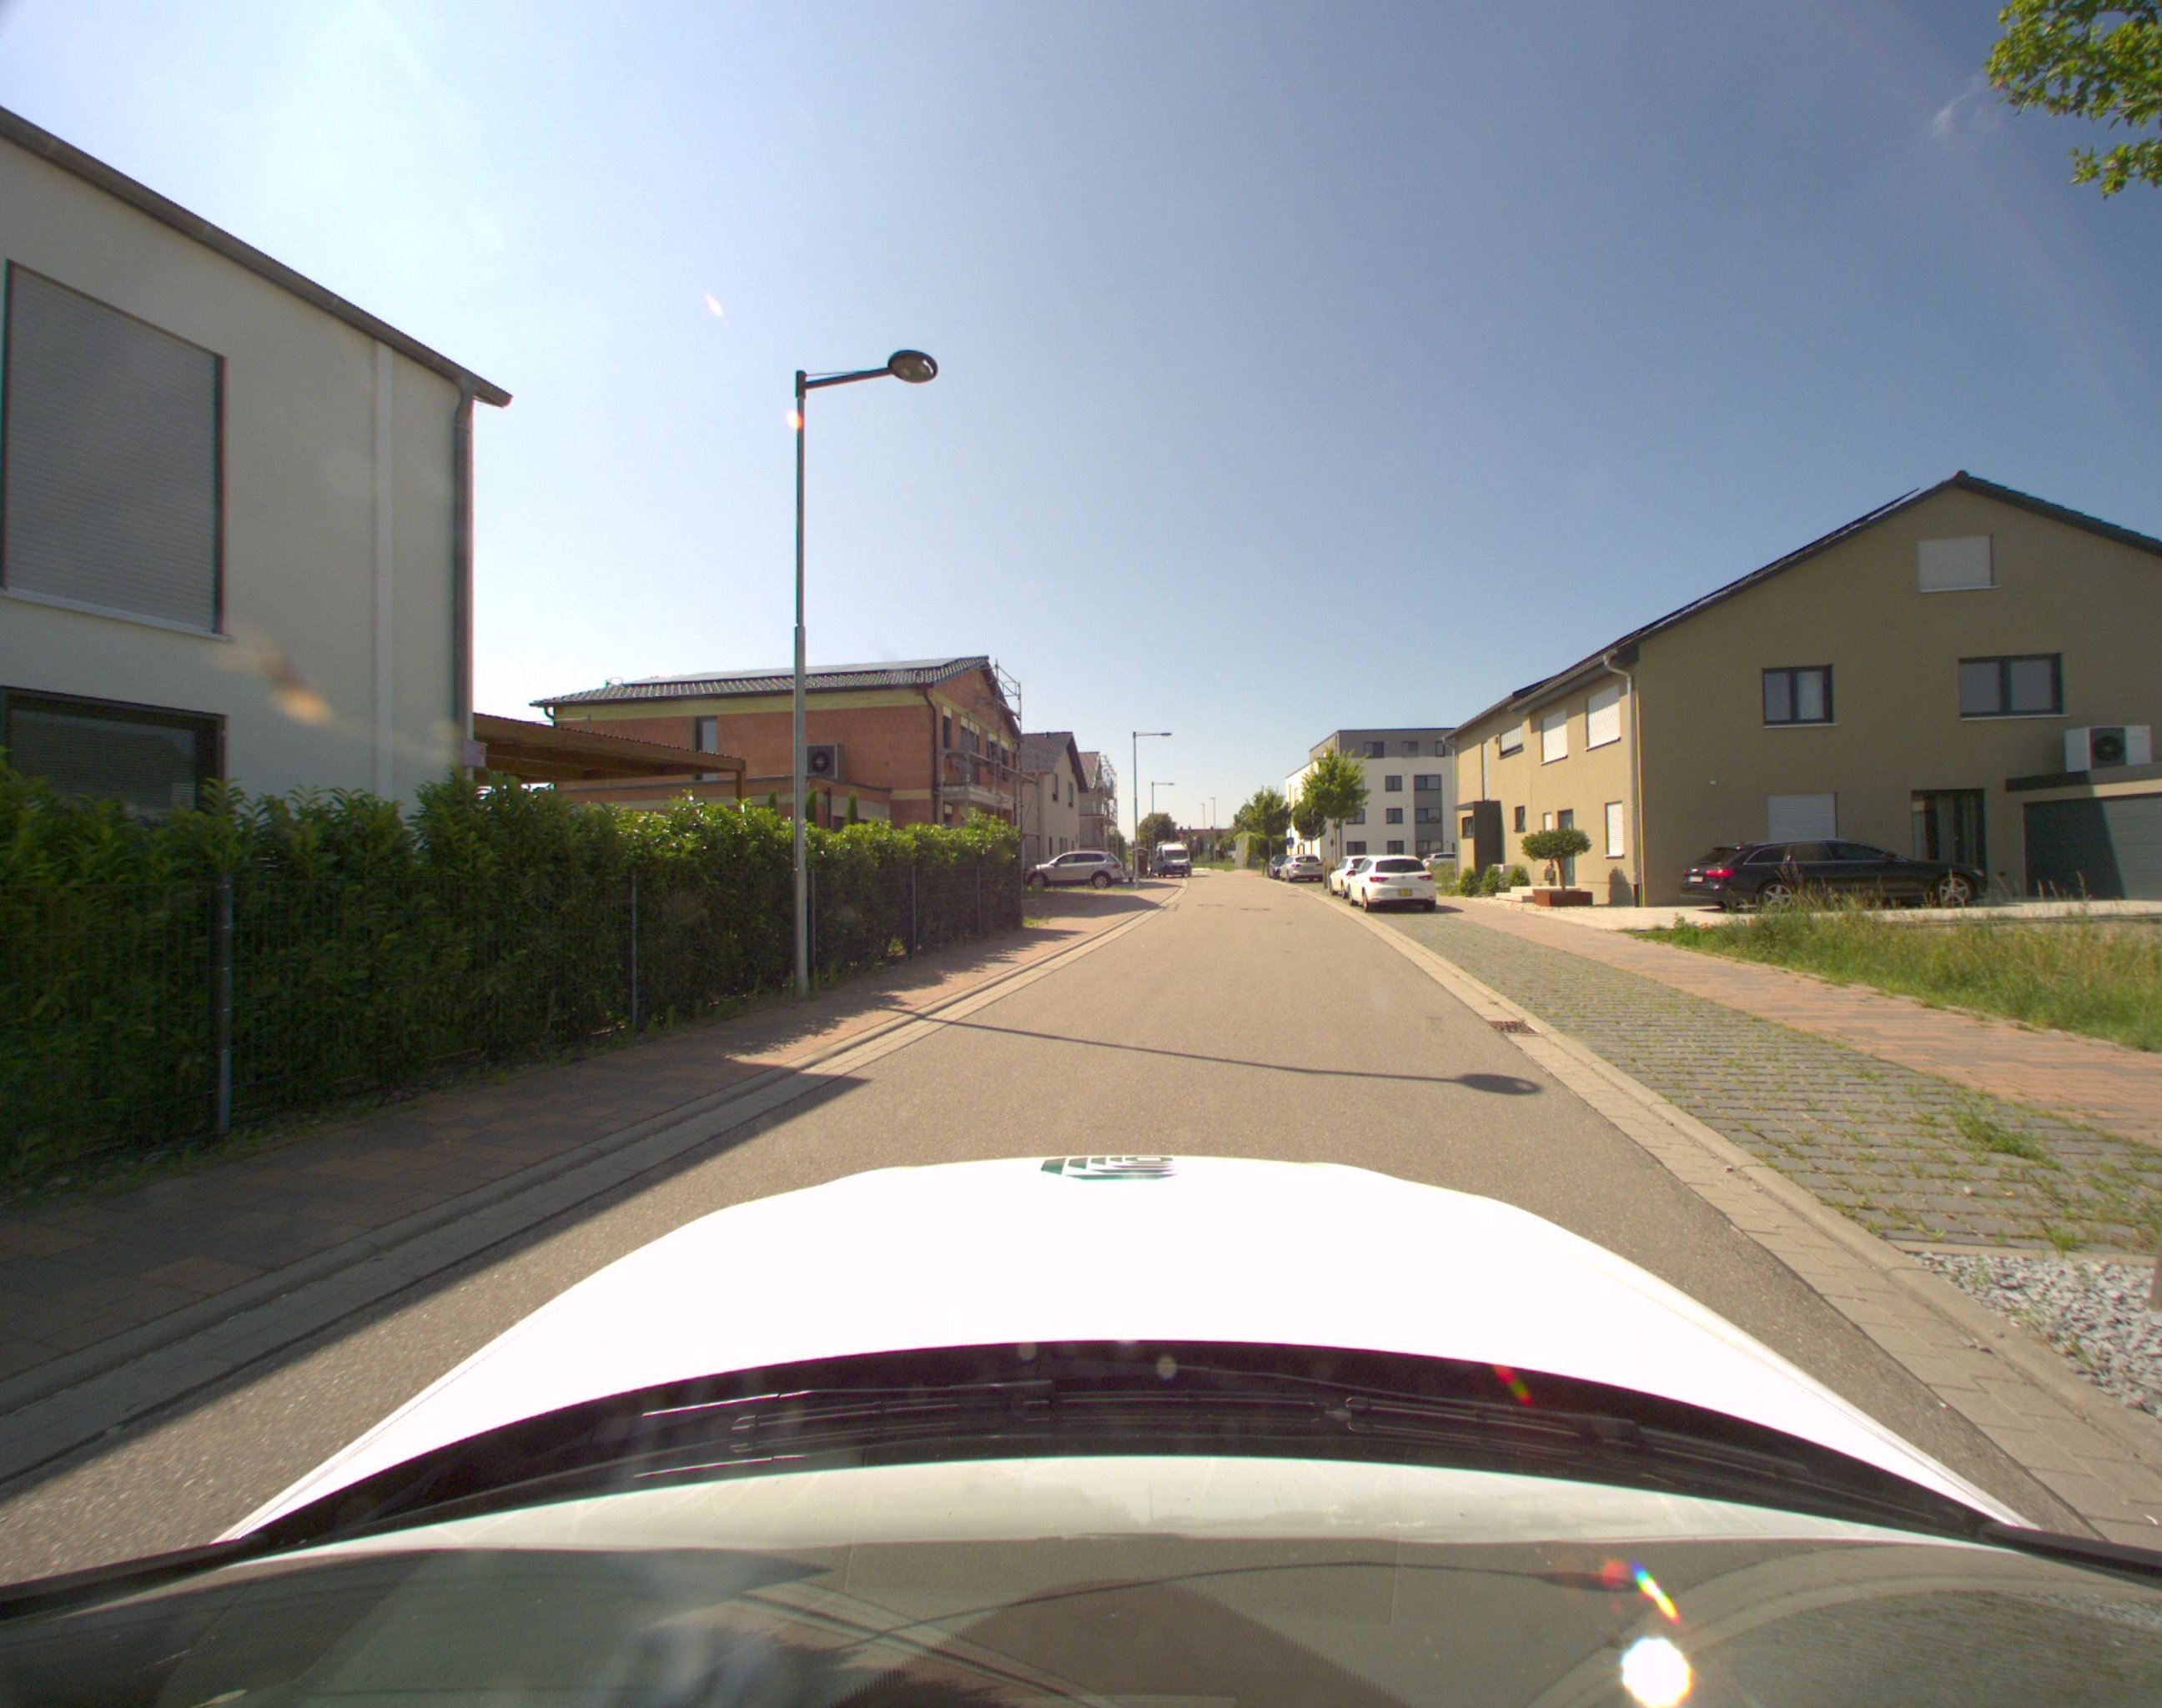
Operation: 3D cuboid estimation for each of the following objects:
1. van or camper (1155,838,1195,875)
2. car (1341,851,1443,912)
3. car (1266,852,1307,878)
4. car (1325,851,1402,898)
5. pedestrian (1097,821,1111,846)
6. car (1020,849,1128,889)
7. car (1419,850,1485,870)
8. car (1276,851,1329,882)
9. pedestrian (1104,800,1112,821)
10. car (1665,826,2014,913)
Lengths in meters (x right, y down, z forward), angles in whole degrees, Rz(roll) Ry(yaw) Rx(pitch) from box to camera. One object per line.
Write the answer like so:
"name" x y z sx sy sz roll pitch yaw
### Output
"van or camper" 6.885 0.220 60.344 2.265 2.553 6.366 -1 -1 0
"car" 8.423 0.698 22.433 1.803 1.456 4.578 -2 -1 11
"car" 12.689 0.654 50.556 1.908 1.469 5.151 -2 0 8
"car" 9.823 0.655 28.631 1.769 1.426 4.526 -2 0 9
"pedestrian" 1.570 -1.387 56.458 0.751 1.680 0.572 1 -3 -36
"car" -0.269 0.635 35.141 4.402 1.612 2.003 -1 0 6
"car" 28.188 0.463 62.017 4.139 1.436 1.885 -1 -2 4
"car" 12.004 0.631 44.439 1.908 1.511 5.304 -2 0 6
"pedestrian" 2.027 -3.285 61.204 0.560 1.500 0.748 -1 -3 -1
"car" 15.204 0.325 16.669 4.855 1.426 2.007 -3 -1 12
